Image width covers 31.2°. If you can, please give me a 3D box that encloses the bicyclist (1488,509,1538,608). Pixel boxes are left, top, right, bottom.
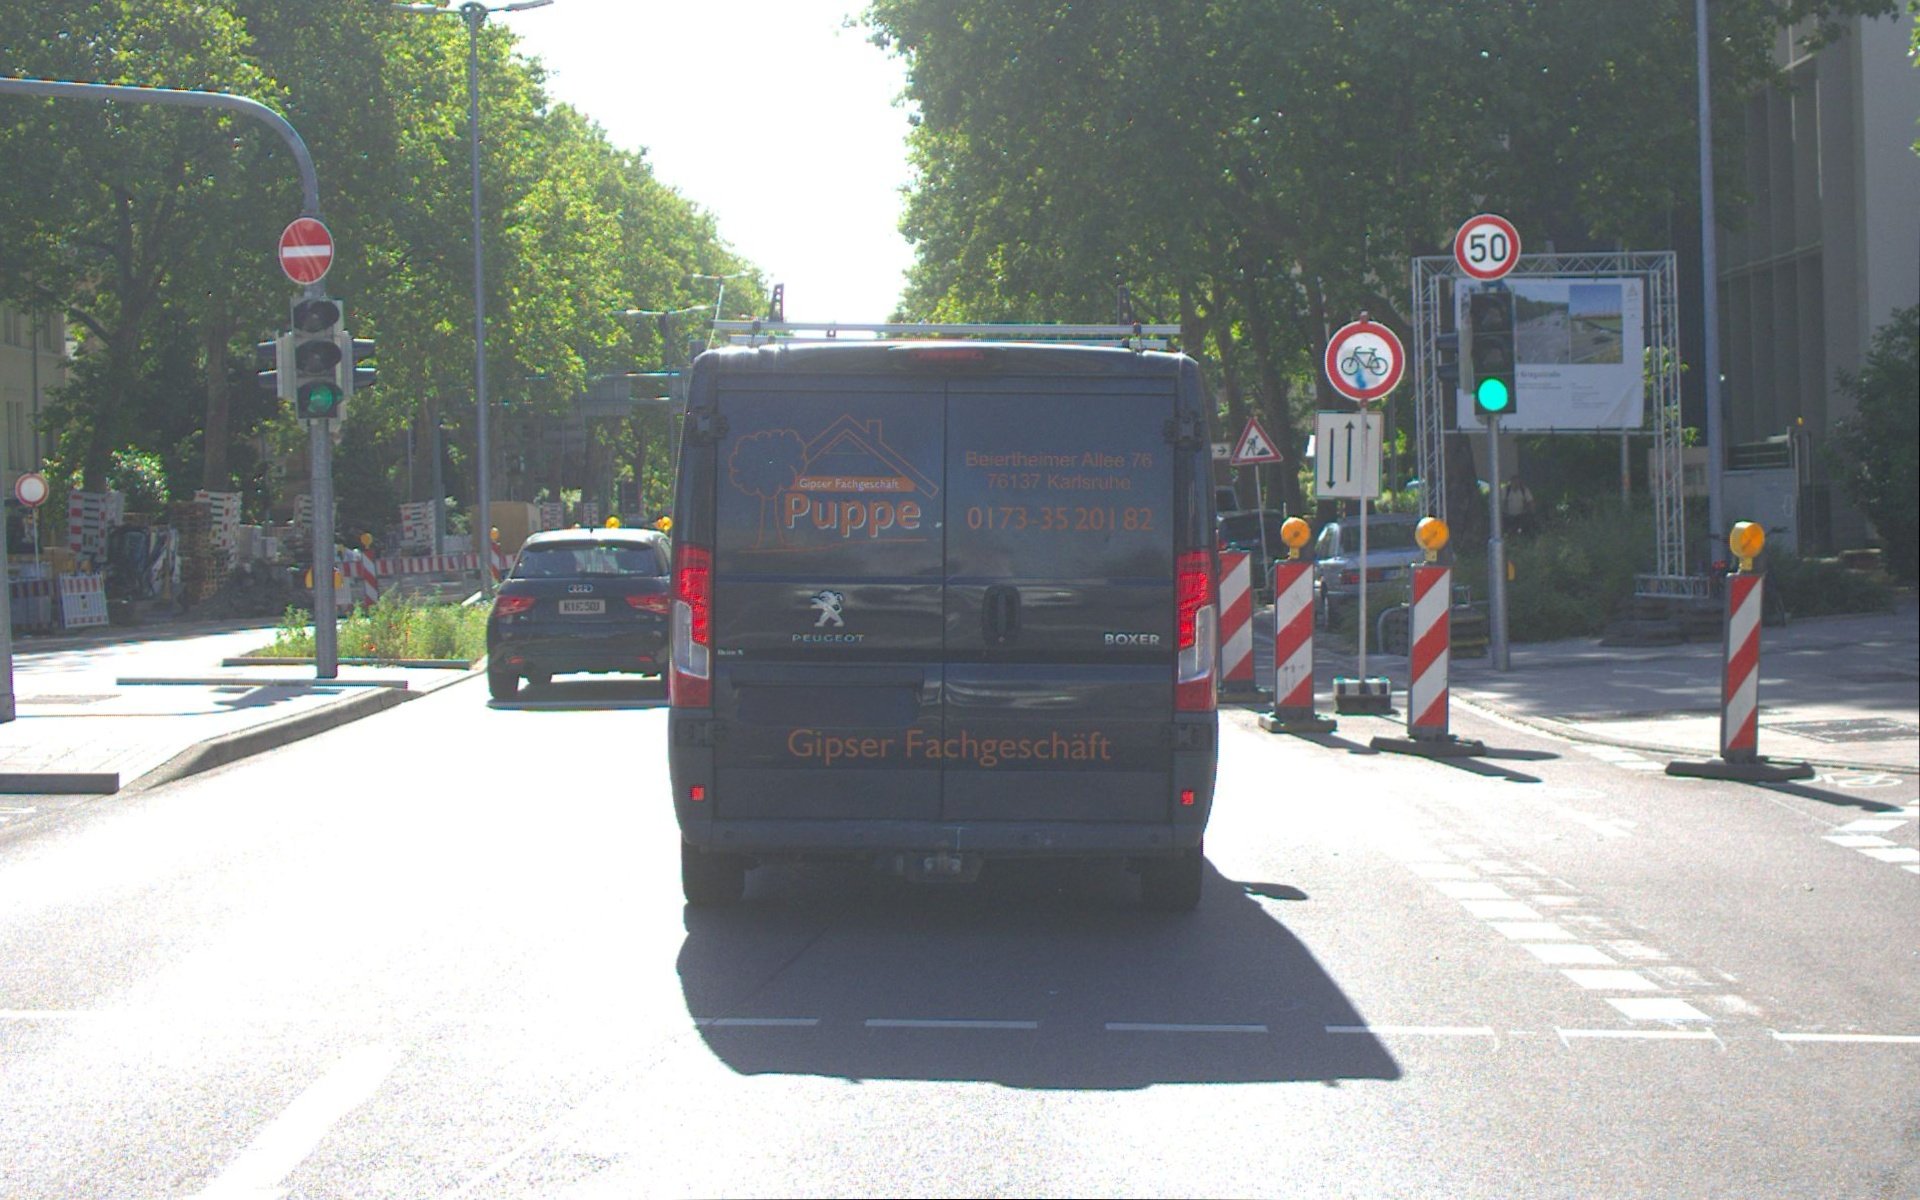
[{"bbox_3d":[10.252,-0.780,63.745,0.724,1.814,1.071,-1,1,1],"label":"bicyclist"}]

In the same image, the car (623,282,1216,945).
[{"bbox_3d":[-0.184,-0.024,14.234,2.095,2.347,3.934,-1,2,-1],"label":"car"}]

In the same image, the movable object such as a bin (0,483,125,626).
[{"bbox_3d":[-18.163,-0.921,68.171,2.146,2.697,5.356,-1,1,-3],"label":"movable object such as a bin"}]

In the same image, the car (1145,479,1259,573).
[{"bbox_3d":[5.274,-1.636,75.620,2.026,1.940,5.274,-1,1,-1],"label":"car"}]

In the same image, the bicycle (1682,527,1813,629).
[{"bbox_3d":[8.263,-0.242,36.015,0.588,1.001,2.127,0,2,34],"label":"bicycle"}]

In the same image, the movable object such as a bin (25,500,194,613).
[{"bbox_3d":[-18.320,-0.970,74.354,1.993,2.271,5.599,-2,1,2],"label":"movable object such as a bin"}]

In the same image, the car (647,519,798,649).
[{"bbox_3d":[-2.899,-0.240,42.589,1.746,1.402,4.001,0,3,-2],"label":"car"}]

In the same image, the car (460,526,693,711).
[{"bbox_3d":[-3.302,0.112,30.222,1.746,1.402,4.001,0,3,-2],"label":"car"}]

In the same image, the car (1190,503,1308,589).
[{"bbox_3d":[5.341,-1.024,63.950,1.763,1.503,4.251,-1,1,-1],"label":"car"}]

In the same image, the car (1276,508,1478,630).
[{"bbox_3d":[5.350,-0.446,44.729,1.852,1.474,4.943,-1,2,-2],"label":"car"}]

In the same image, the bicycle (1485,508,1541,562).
[{"bbox_3d":[10.241,-1.213,63.698,0.782,0.963,1.823,-1,2,2],"label":"bicycle"}]
